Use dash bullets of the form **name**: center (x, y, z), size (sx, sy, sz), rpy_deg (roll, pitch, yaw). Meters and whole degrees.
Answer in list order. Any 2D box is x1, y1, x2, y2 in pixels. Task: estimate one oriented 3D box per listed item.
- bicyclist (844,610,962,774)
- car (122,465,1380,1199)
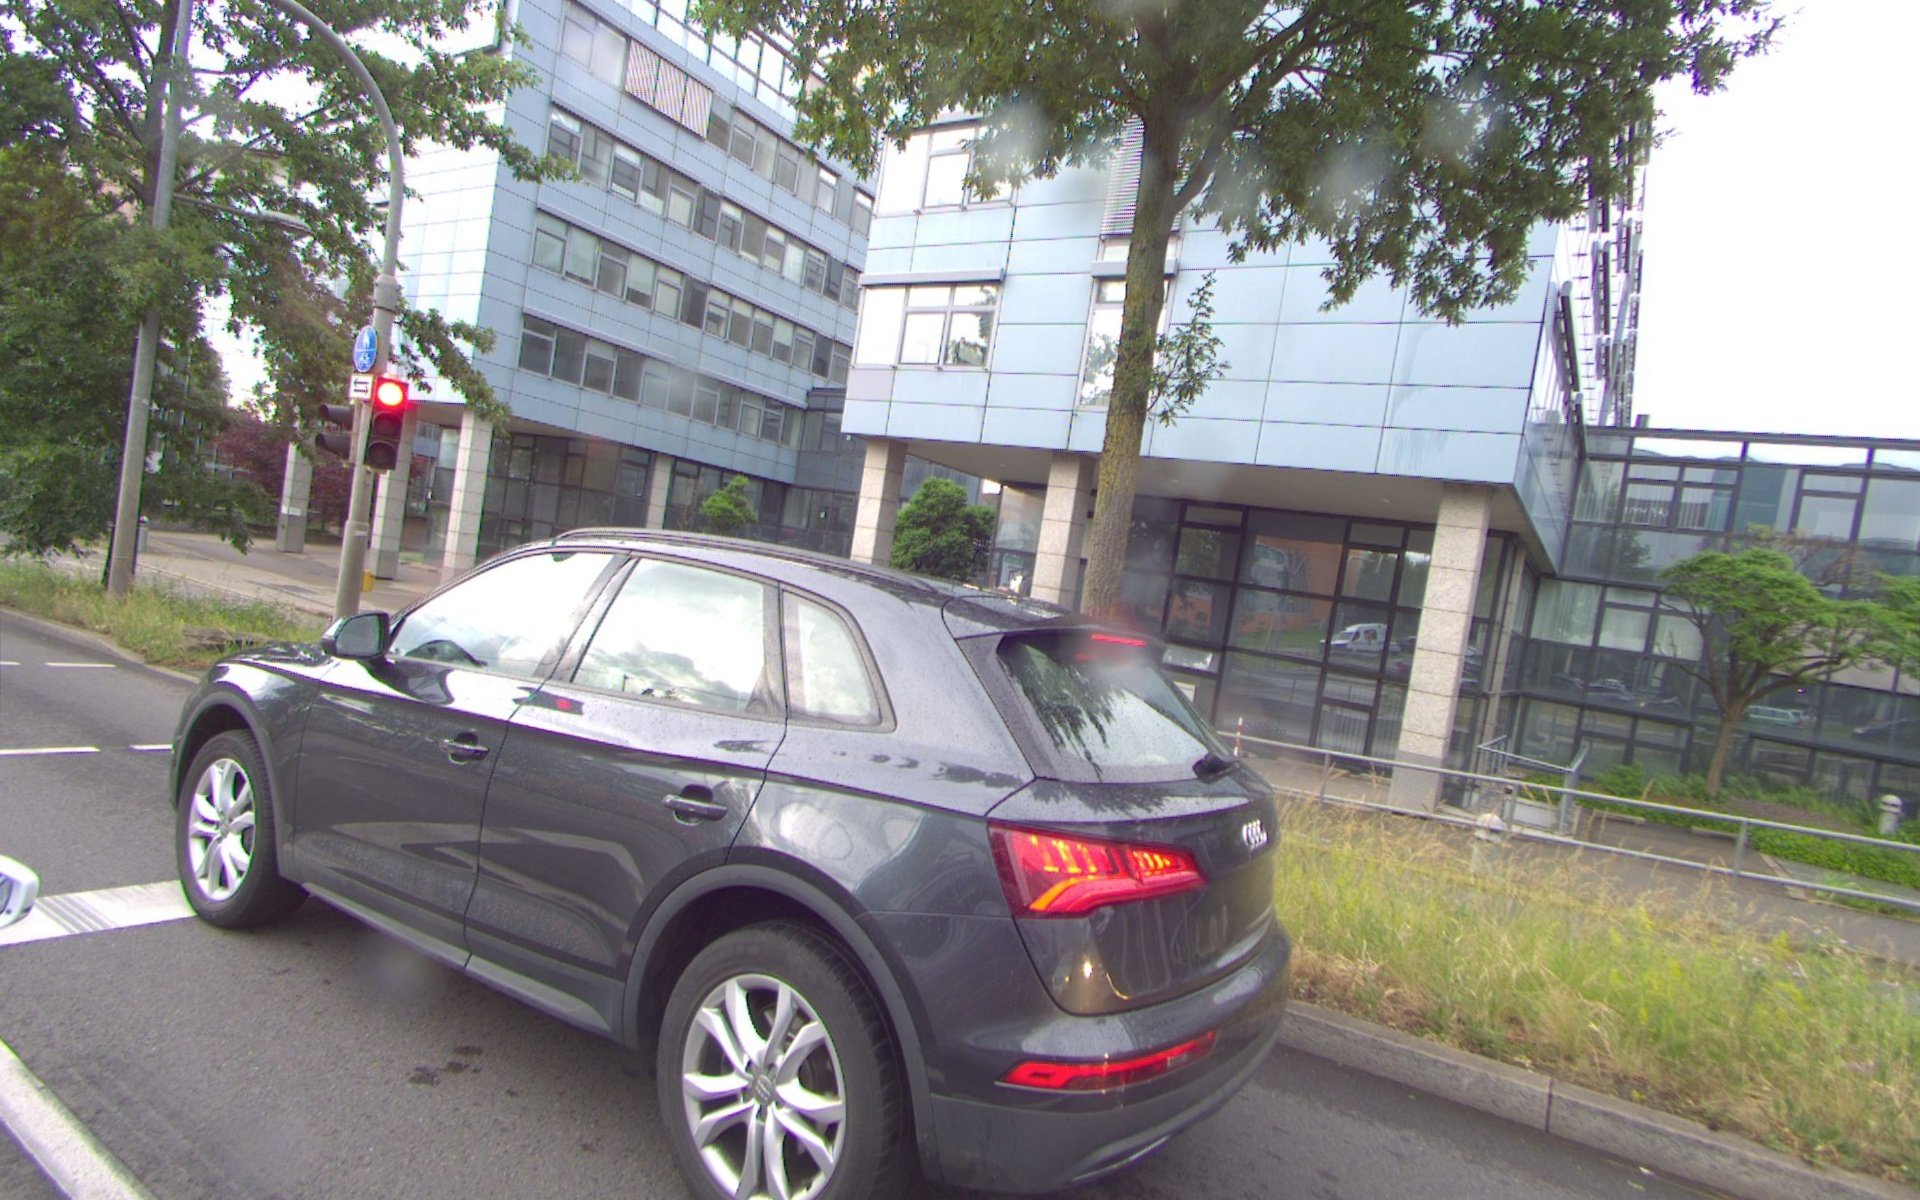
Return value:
- **bicyclist**: center (-0.608, 0.976, 10.768), size (0.840, 1.597, 0.647), rpy_deg (8, -1, 32)
- **car**: center (-1.013, 0.567, 3.746), size (4.396, 1.632, 1.821), rpy_deg (7, -1, 32)
